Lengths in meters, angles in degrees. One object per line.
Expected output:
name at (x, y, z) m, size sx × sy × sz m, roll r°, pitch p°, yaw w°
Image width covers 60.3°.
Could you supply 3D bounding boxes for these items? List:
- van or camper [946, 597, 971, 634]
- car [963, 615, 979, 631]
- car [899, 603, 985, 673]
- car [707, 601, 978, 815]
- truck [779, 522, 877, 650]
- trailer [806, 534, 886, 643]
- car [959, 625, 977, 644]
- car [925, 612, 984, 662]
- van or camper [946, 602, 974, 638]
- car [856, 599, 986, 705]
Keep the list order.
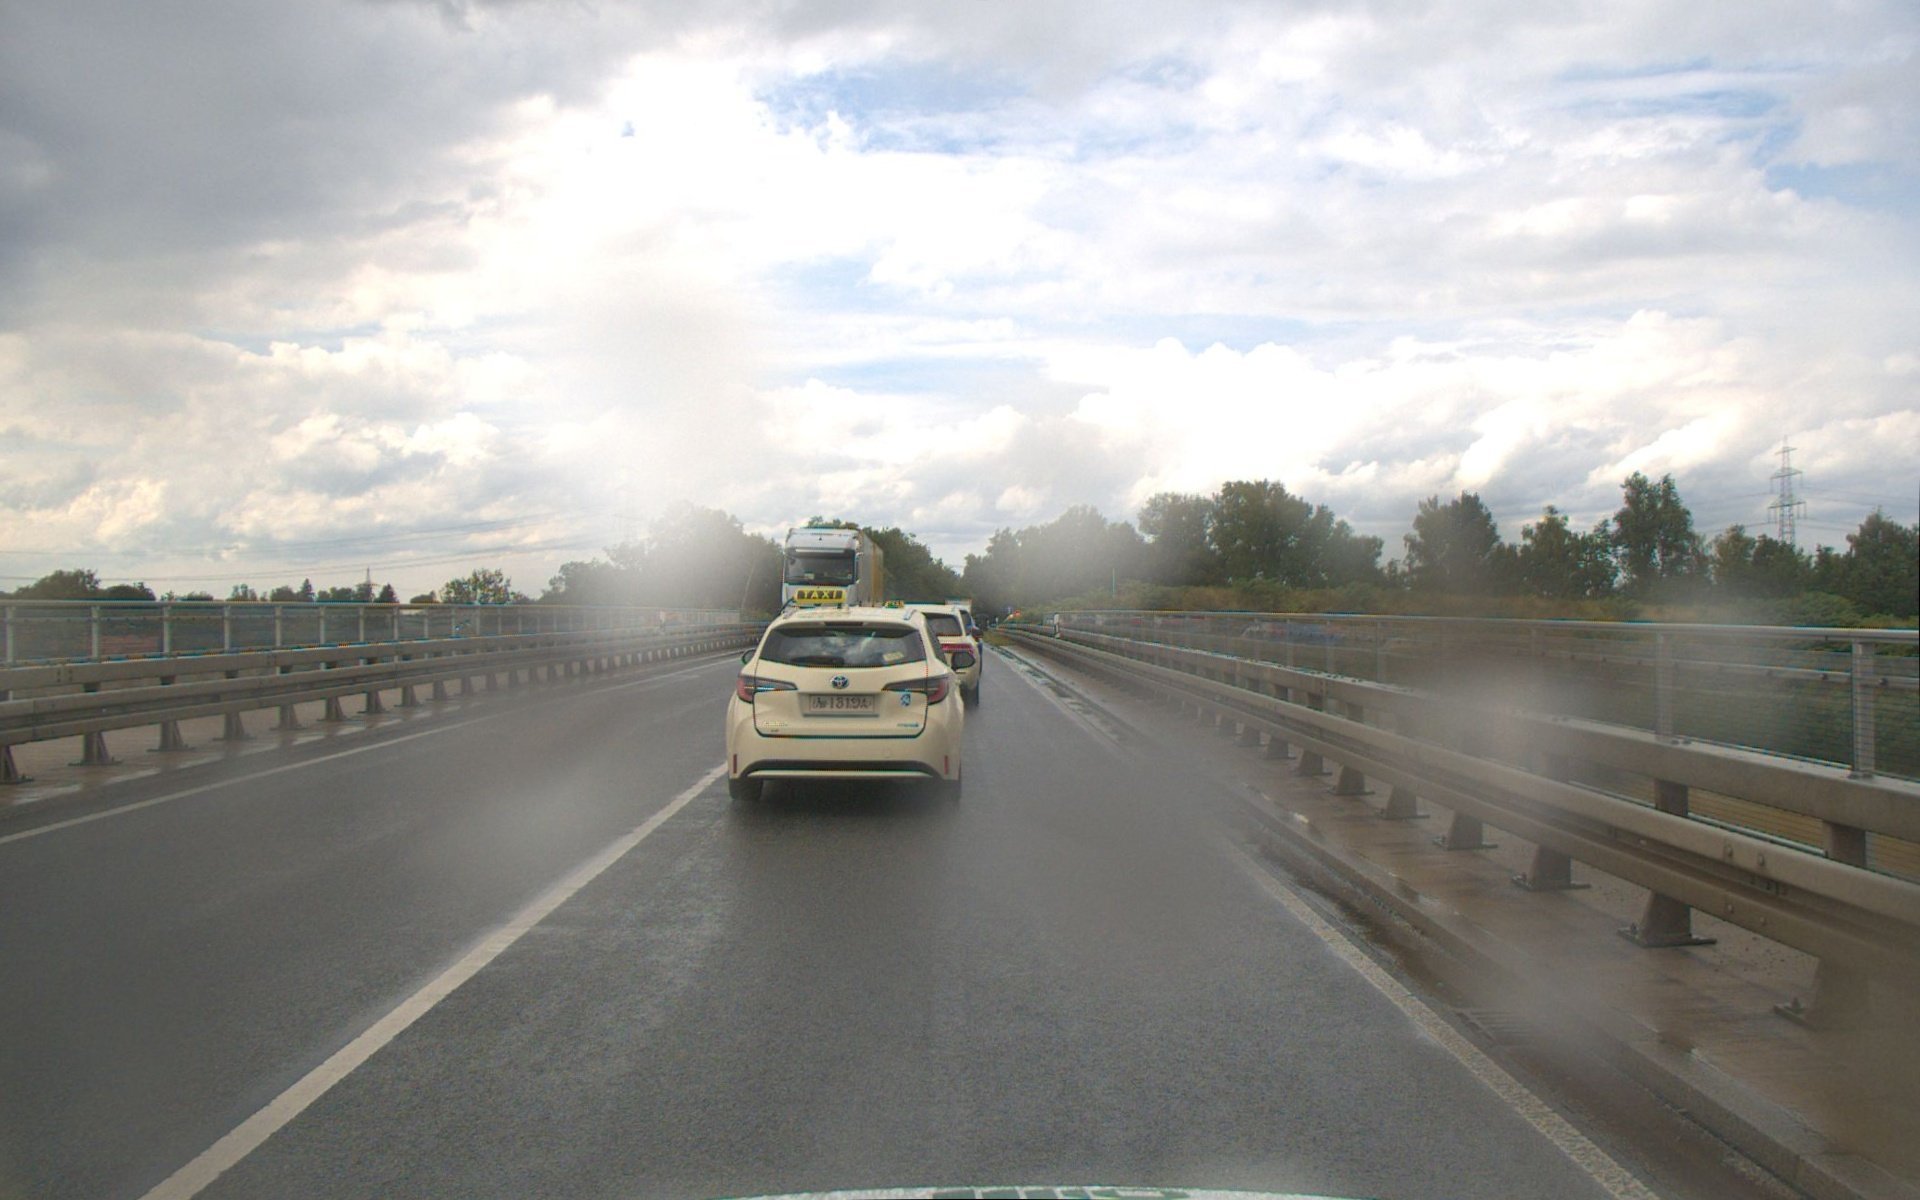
van or camper at (-0.177, 1.529, 163.458) m, size 2.285 × 3.625 × 6.305 m, roll 1°, pitch 0°, yaw -1°
car at (1.389, 3.002, 217.145) m, size 1.953 × 2.049 × 3.999 m, roll 1°, pitch 0°, yaw -1°
car at (-0.412, 0.819, 37.709) m, size 1.816 × 1.468 × 4.170 m, roll 1°, pitch 0°, yaw -1°
car at (-0.819, 0.737, 13.351) m, size 1.816 × 1.418 × 4.170 m, roll 1°, pitch 0°, yaw -1°
truck at (-4.477, -0.447, 57.953) m, size 2.628 × 4.087 × 10.053 m, roll 1°, pitch 0°, yaw 0°
trailer at (-4.526, -0.439, 67.217) m, size 2.628 × 4.146 × 8.484 m, roll 1°, pitch 0°, yaw 0°
car at (0.893, 3.938, 187.711) m, size 1.953 × 2.049 × 3.999 m, roll 1°, pitch 0°, yaw -1°
car at (-0.181, 1.175, 53.543) m, size 1.816 × 1.468 × 4.170 m, roll 1°, pitch 0°, yaw -1°
van or camper at (-0.004, 1.679, 140.620) m, size 2.285 × 2.914 × 6.305 m, roll 1°, pitch 0°, yaw -1°
car at (-0.572, 0.736, 25.498) m, size 1.816 × 1.468 × 4.170 m, roll 1°, pitch 0°, yaw -1°
